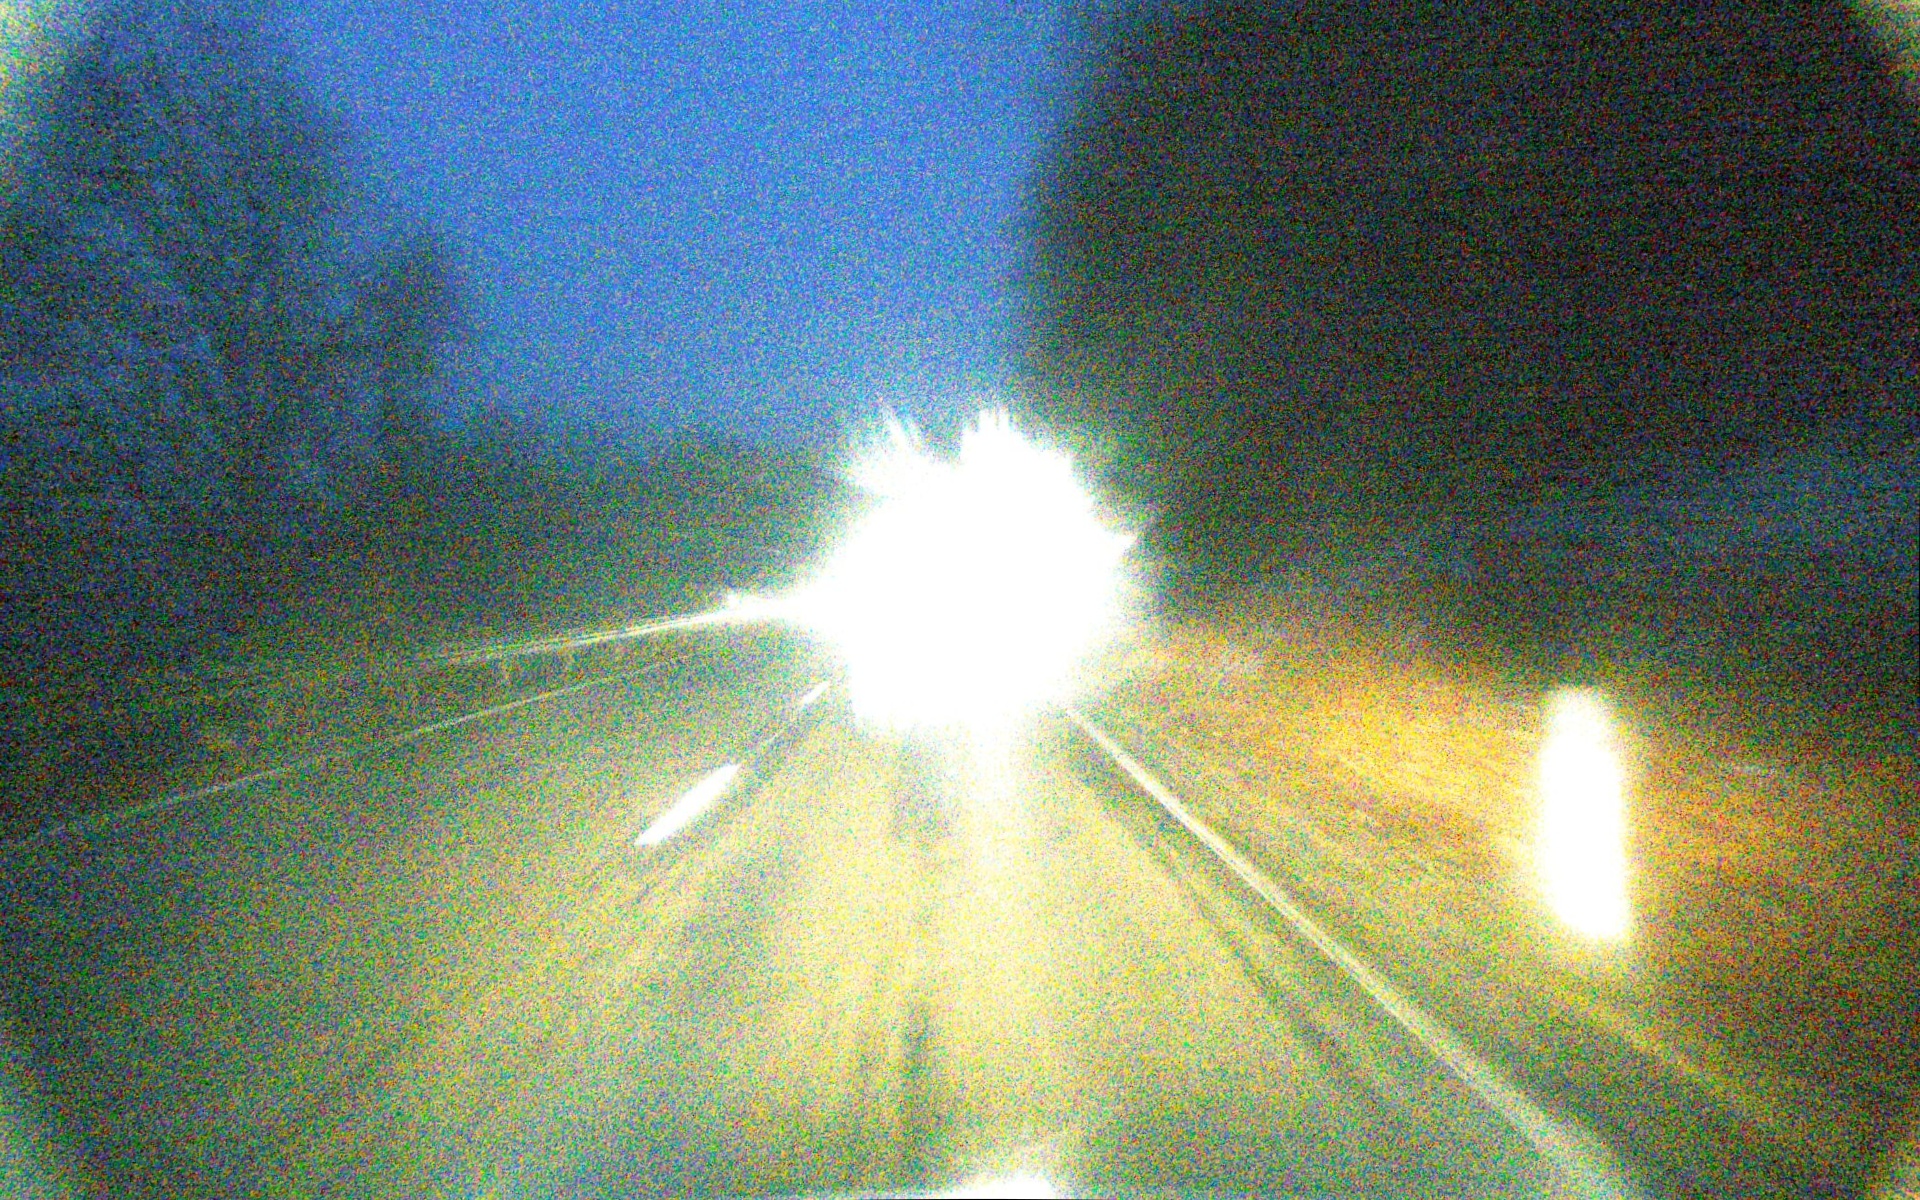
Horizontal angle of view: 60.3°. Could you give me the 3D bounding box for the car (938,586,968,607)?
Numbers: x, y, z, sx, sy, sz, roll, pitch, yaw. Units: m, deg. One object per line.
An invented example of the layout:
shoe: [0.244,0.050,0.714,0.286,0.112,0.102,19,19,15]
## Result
car: [-0.472,-0.257,117.405,1.952,1.415,3.847,1,0,2]
